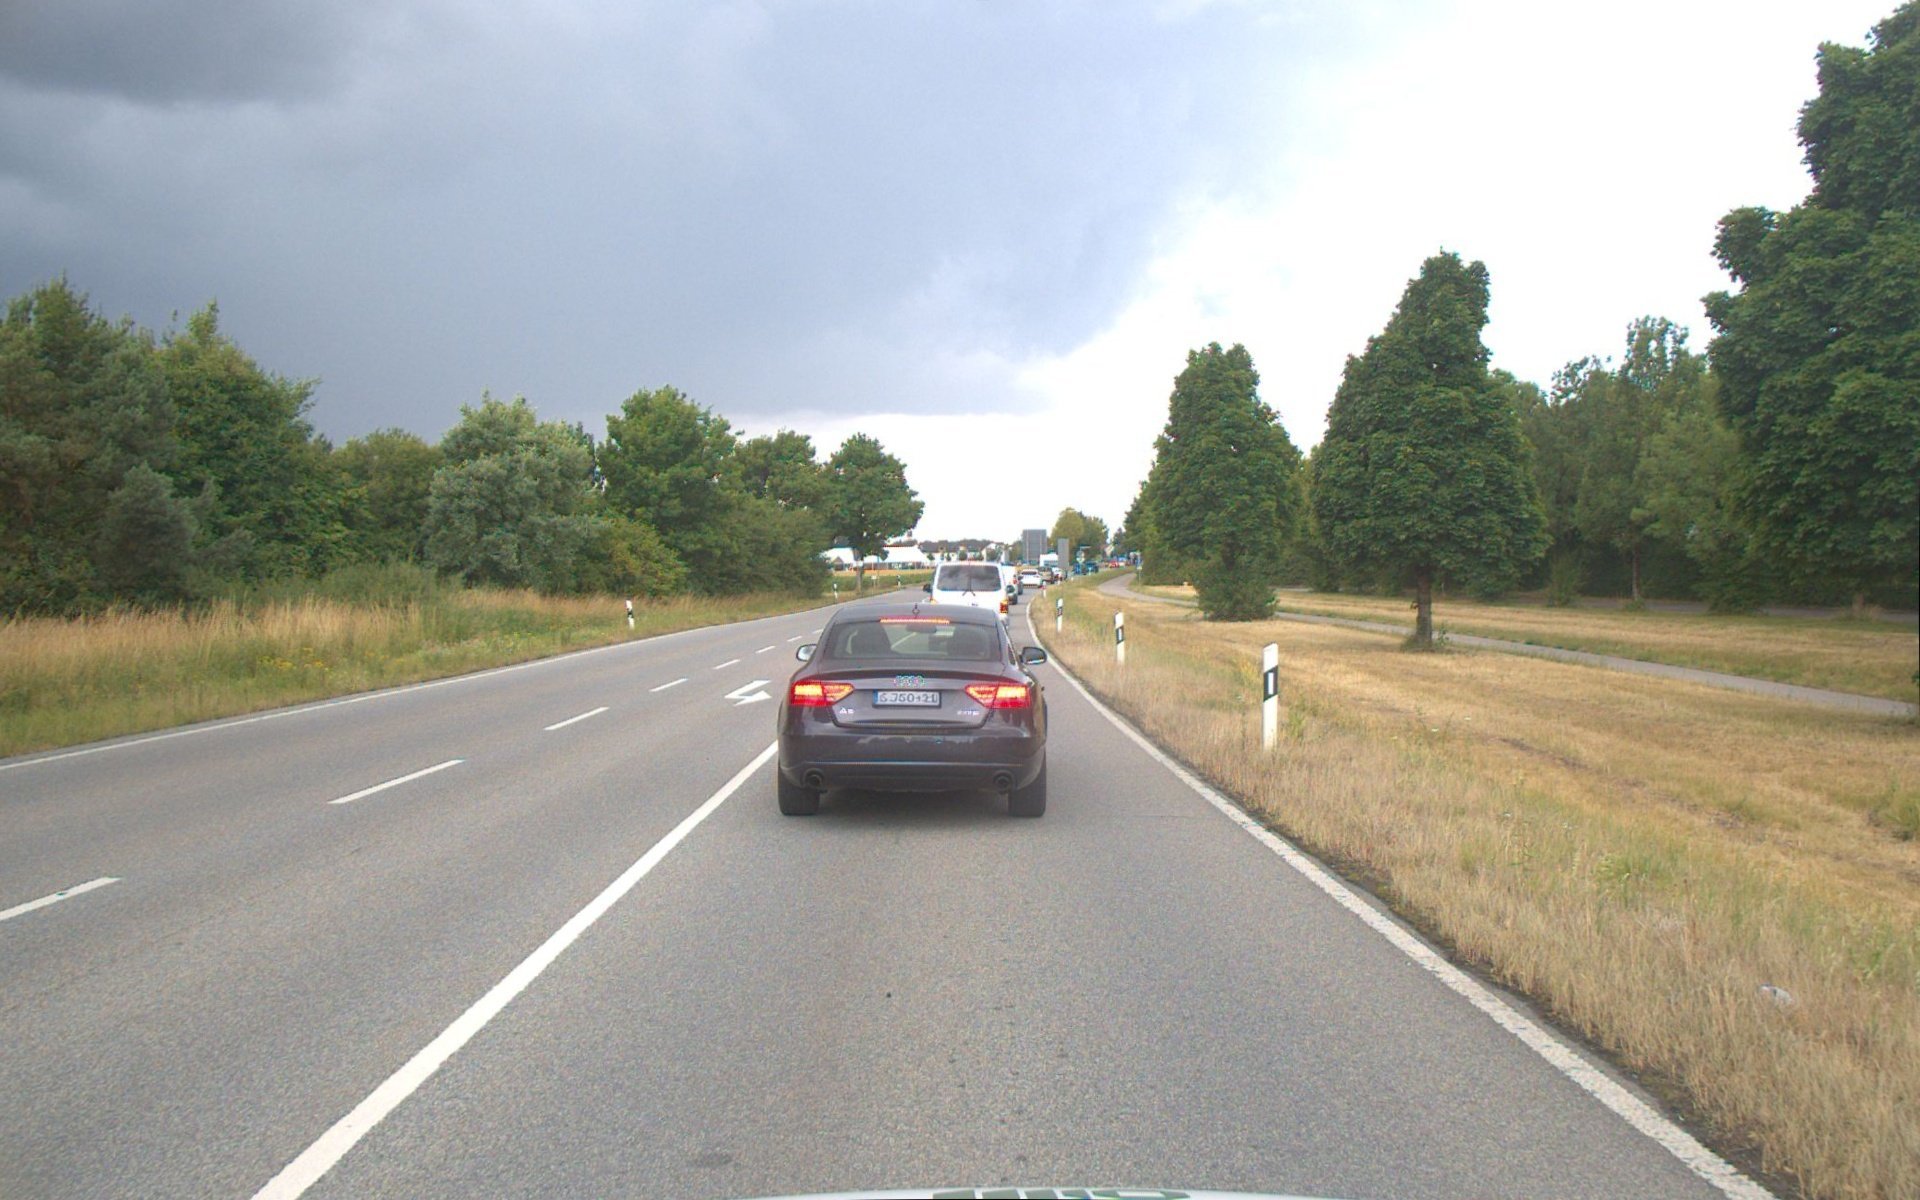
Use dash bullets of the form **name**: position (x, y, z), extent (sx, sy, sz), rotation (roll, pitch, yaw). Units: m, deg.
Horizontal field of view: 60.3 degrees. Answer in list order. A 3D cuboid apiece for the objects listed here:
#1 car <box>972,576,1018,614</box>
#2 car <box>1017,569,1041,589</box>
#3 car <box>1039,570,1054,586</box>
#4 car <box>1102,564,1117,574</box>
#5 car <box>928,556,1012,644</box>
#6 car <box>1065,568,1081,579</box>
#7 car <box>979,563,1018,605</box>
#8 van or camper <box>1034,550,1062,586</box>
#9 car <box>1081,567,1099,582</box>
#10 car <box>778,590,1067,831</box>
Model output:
- **car**: position (1.423, -0.211, 66.440), extent (1.758, 1.489, 3.249), rotation (0, 1, 2)
- **car**: position (5.328, -1.621, 128.175), extent (1.699, 1.541, 3.749), rotation (0, 1, 4)
- **car**: position (7.716, -1.954, 147.369), extent (1.231, 1.377, 3.468), rotation (0, 1, 5)
- **car**: position (21.472, -4.446, 237.481), extent (1.784, 1.519, 4.000), rotation (1, 1, 0)
- **car**: position (0.177, -0.033, 38.224), extent (1.801, 1.915, 3.999), rotation (1, 1, -2)
- **car**: position (14.526, -3.401, 212.240), extent (1.682, 1.476, 4.004), rotation (1, 1, 9)
- **car**: position (1.998, -0.845, 86.145), extent (1.952, 2.125, 4.001), rotation (0, 1, 1)
- **van or camper**: position (8.873, -3.213, 166.302), extent (2.290, 3.542, 5.723), rotation (0, 1, 8)
- **car**: position (14.963, -2.919, 190.630), extent (1.784, 1.624, 4.000), rotation (1, 1, 0)
- **car**: position (-0.276, 0.663, 12.064), extent (1.747, 1.400, 3.999), rotation (1, 1, -2)
